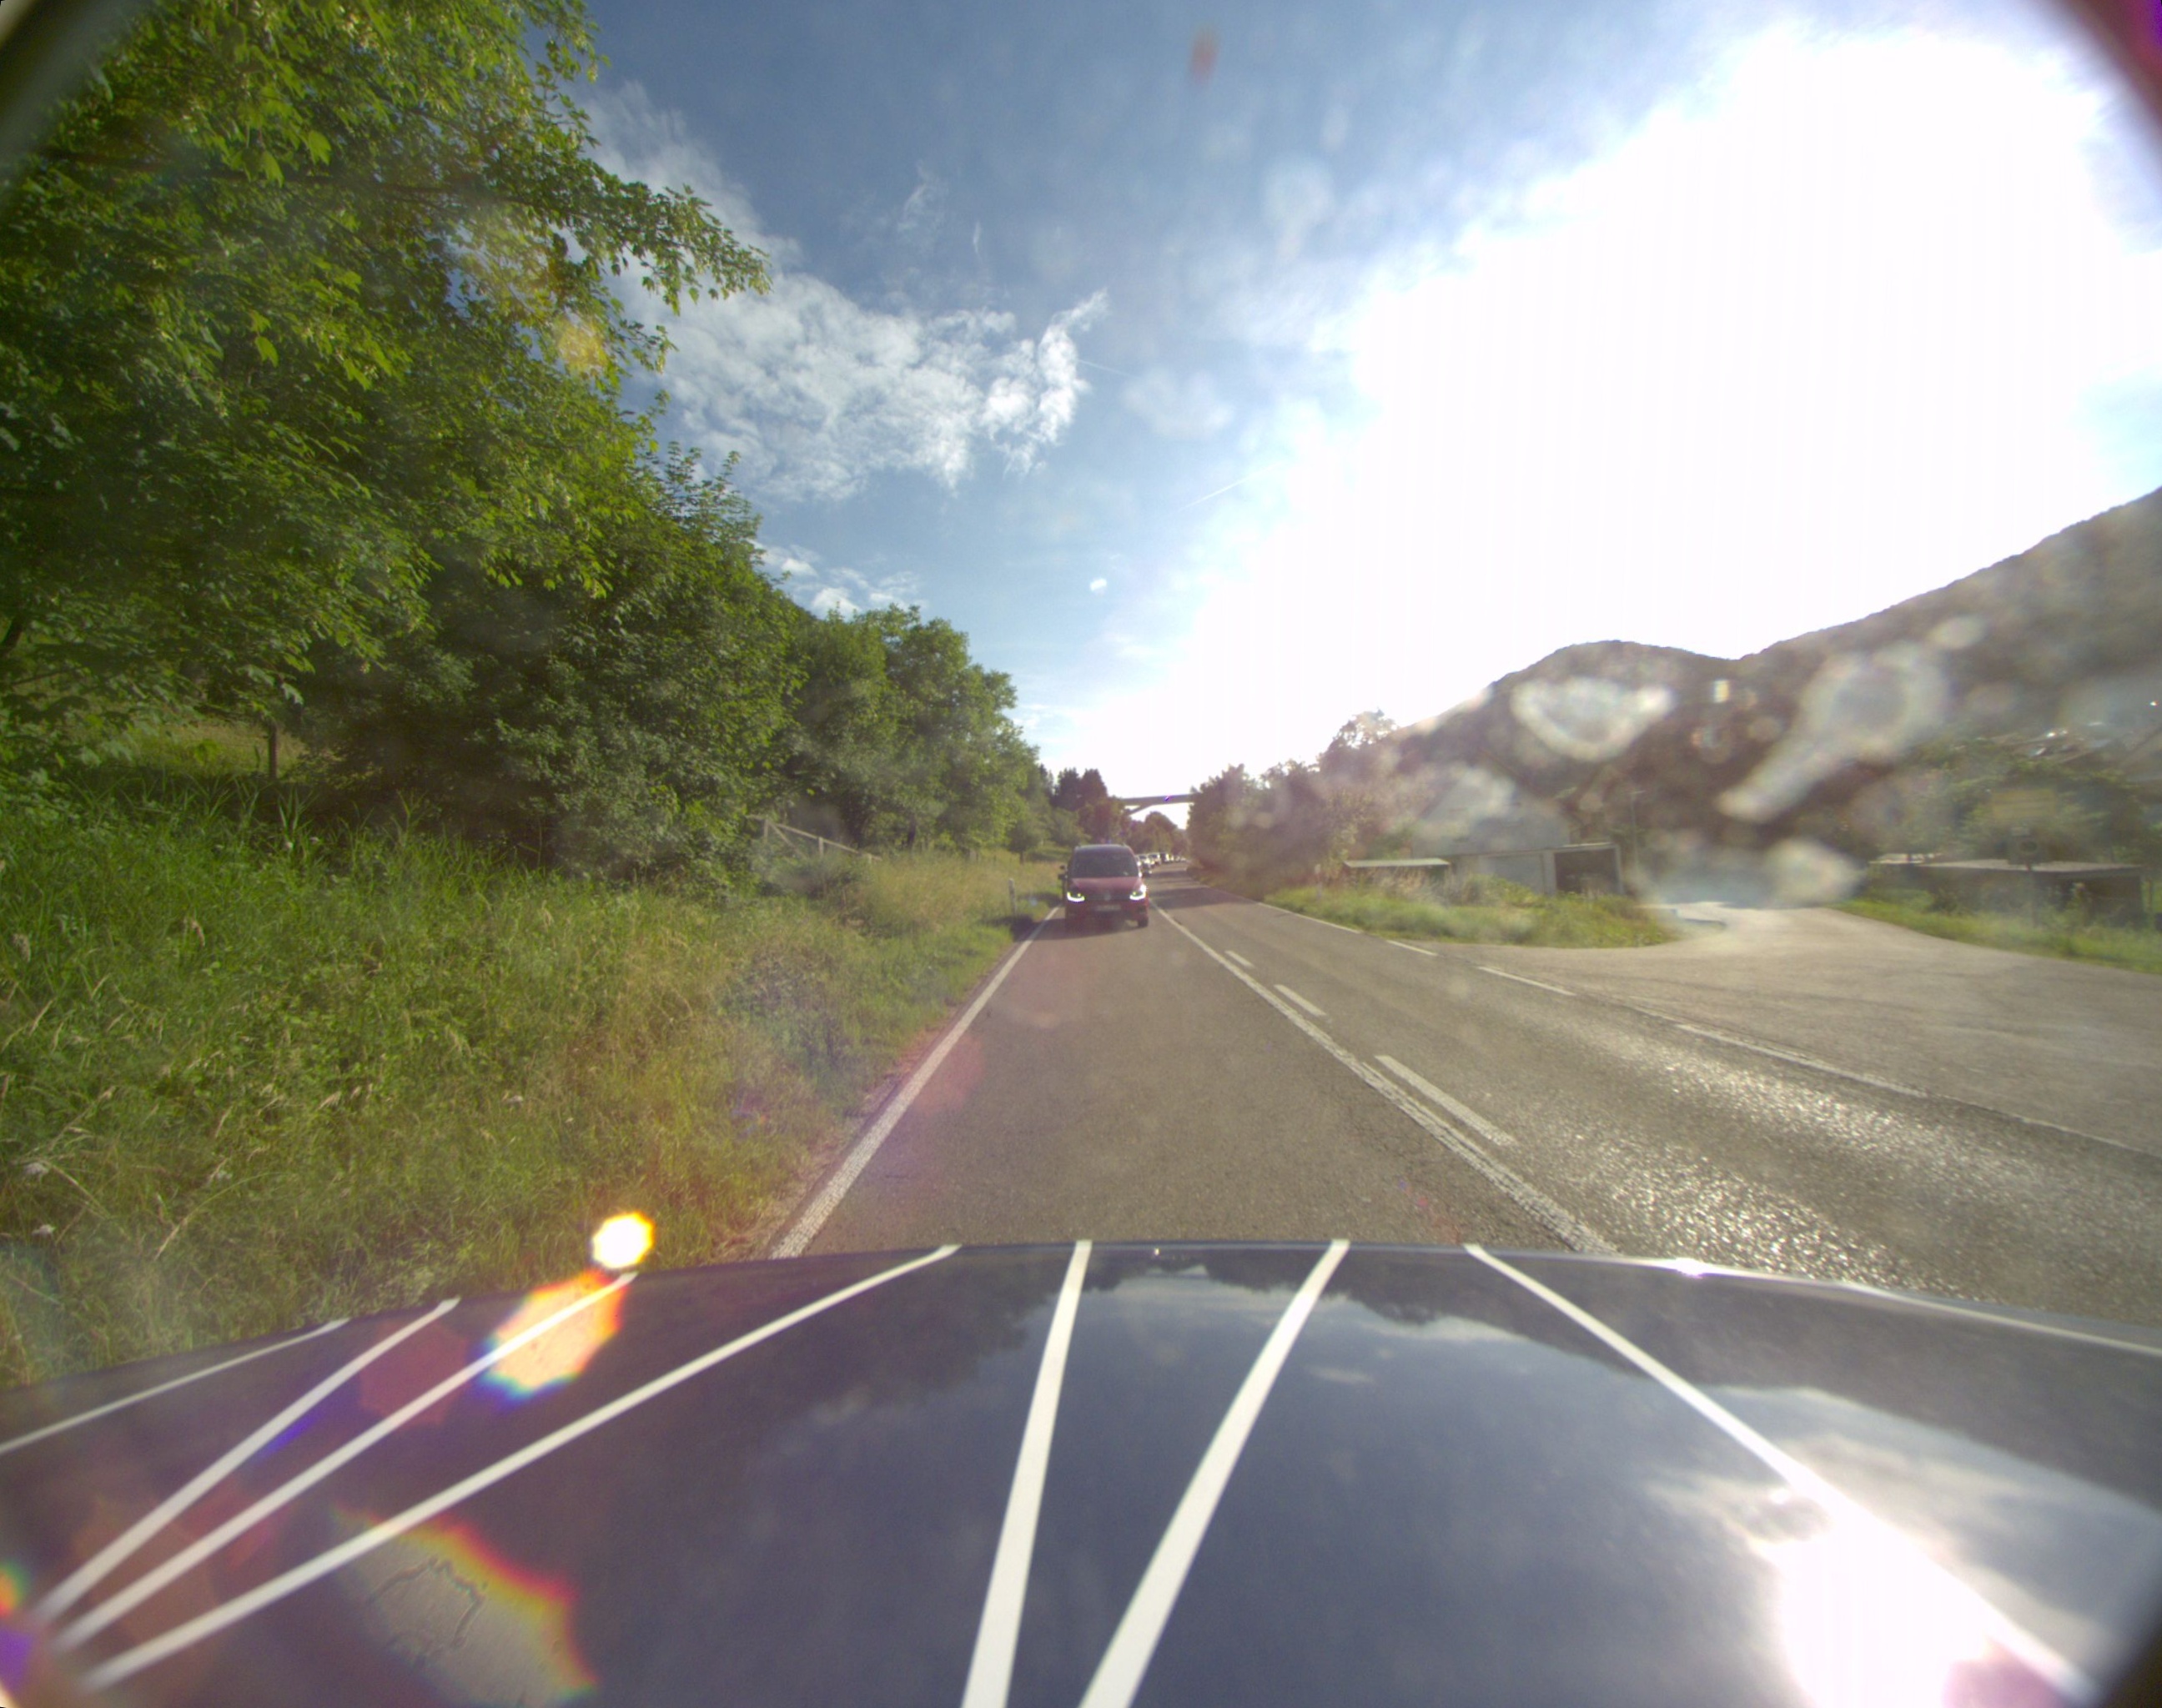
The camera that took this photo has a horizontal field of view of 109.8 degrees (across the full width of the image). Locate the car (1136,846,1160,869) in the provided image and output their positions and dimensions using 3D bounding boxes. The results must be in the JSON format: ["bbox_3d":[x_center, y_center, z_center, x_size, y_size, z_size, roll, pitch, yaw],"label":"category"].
[{"bbox_3d":[6.062,0.344,68.691,1.914,2.002,4.002,-1,0,8],"label":"car"}]

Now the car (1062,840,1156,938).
[{"bbox_3d":[0.622,0.675,16.885,1.772,1.855,3.875,-3,0,2],"label":"car"}]

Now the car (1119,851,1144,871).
[{"bbox_3d":[4.081,0.550,60.902,1.841,1.543,4.179,-1,0,6],"label":"car"}]

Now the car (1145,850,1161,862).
[{"bbox_3d":[9.782,0.234,102.456,1.817,1.608,4.003,-1,0,10],"label":"car"}]

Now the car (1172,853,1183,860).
[{"bbox_3d":[21.162,0.550,166.422,1.840,1.543,4.182,-1,0,13],"label":"car"}]

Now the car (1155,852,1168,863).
[{"bbox_3d":[12.485,0.582,117.372,1.817,1.608,4.003,-1,0,9],"label":"car"}]

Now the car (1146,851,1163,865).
[{"bbox_3d":[8.452,0.467,87.021,1.840,1.543,4.180,0,0,7],"label":"car"}]

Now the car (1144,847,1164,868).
[{"bbox_3d":[7.479,0.345,77.641,1.914,2.002,4.002,-1,0,7],"label":"car"}]
